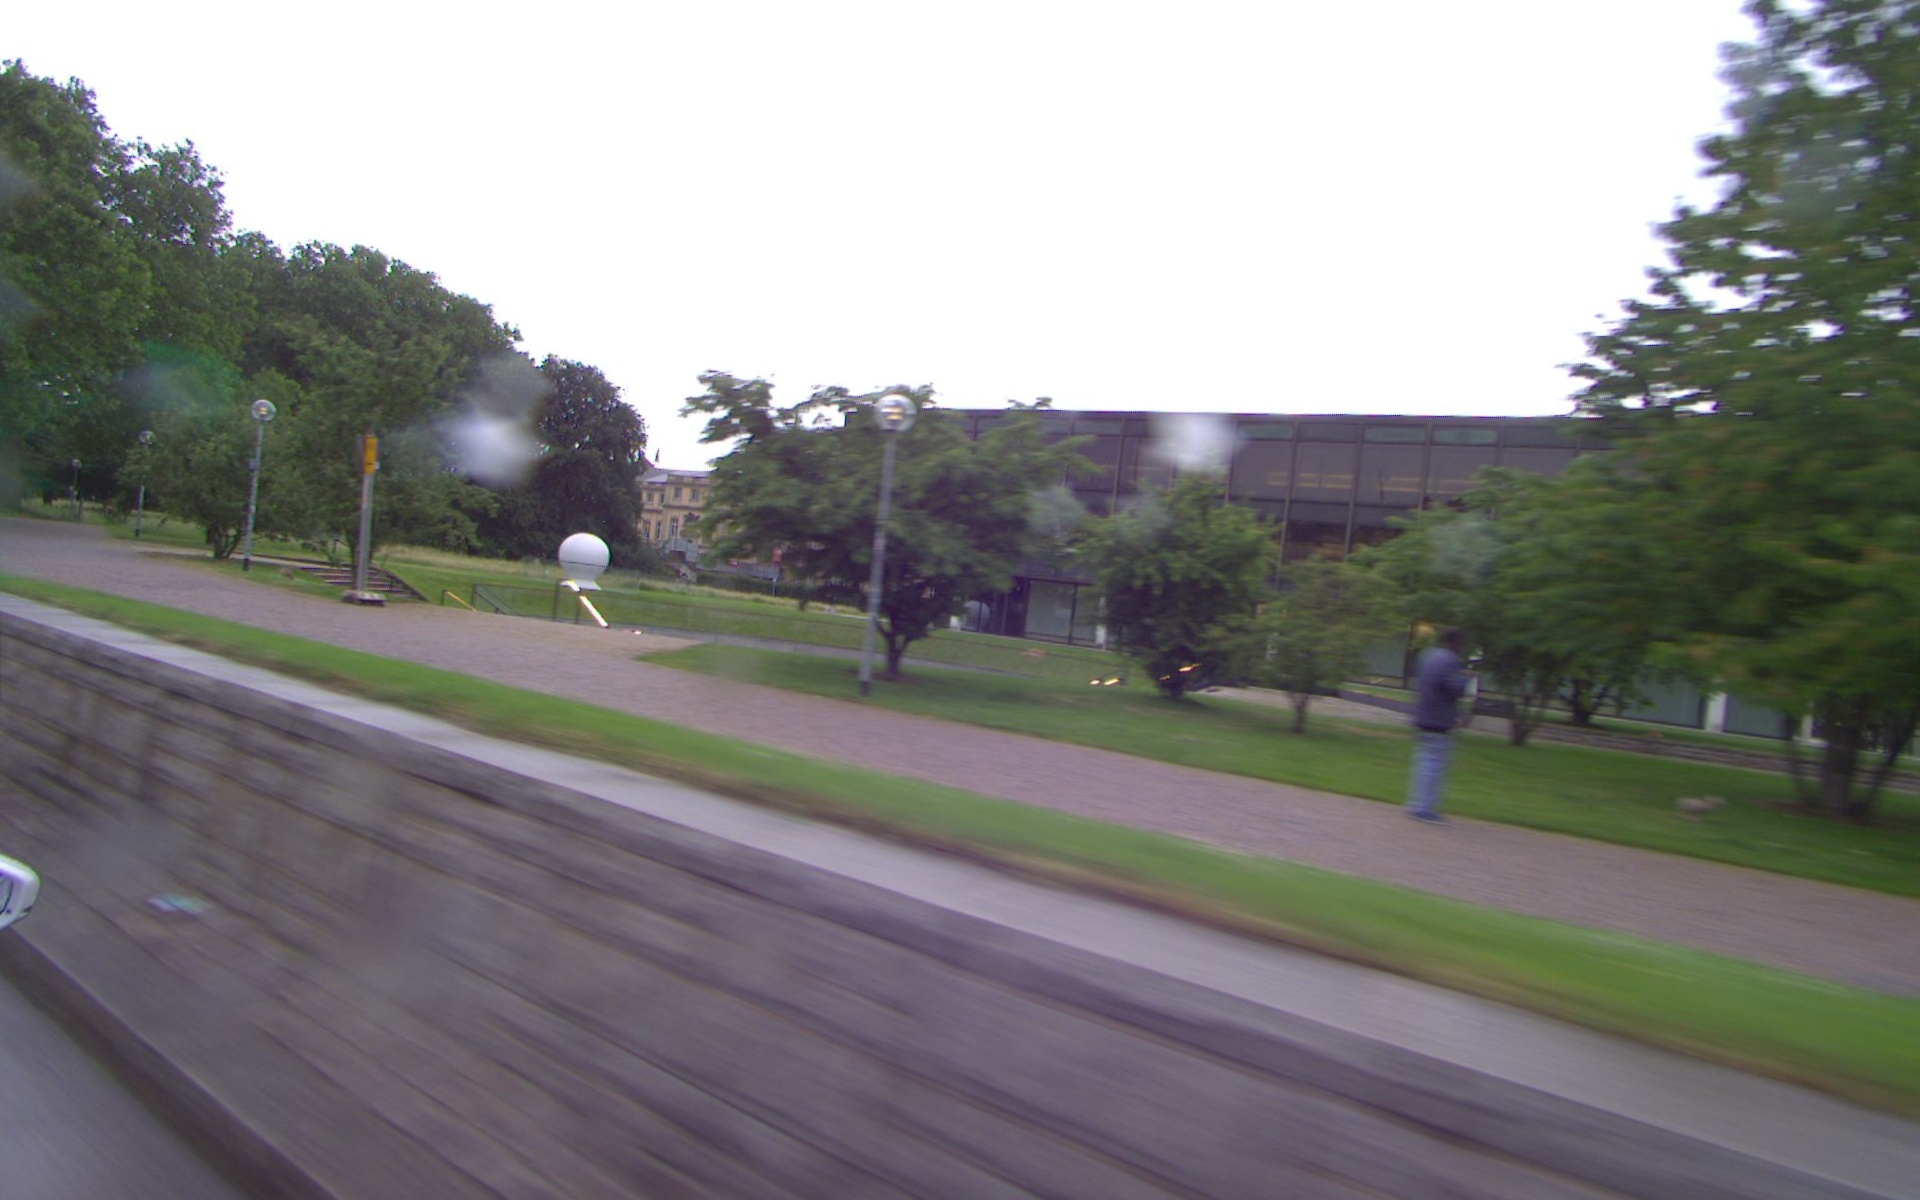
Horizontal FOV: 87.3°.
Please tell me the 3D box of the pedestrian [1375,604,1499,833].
[{"bbox_3d":[4.027,0.972,8.507,0.713,1.778,0.595,8,2,27],"label":"pedestrian"}]
